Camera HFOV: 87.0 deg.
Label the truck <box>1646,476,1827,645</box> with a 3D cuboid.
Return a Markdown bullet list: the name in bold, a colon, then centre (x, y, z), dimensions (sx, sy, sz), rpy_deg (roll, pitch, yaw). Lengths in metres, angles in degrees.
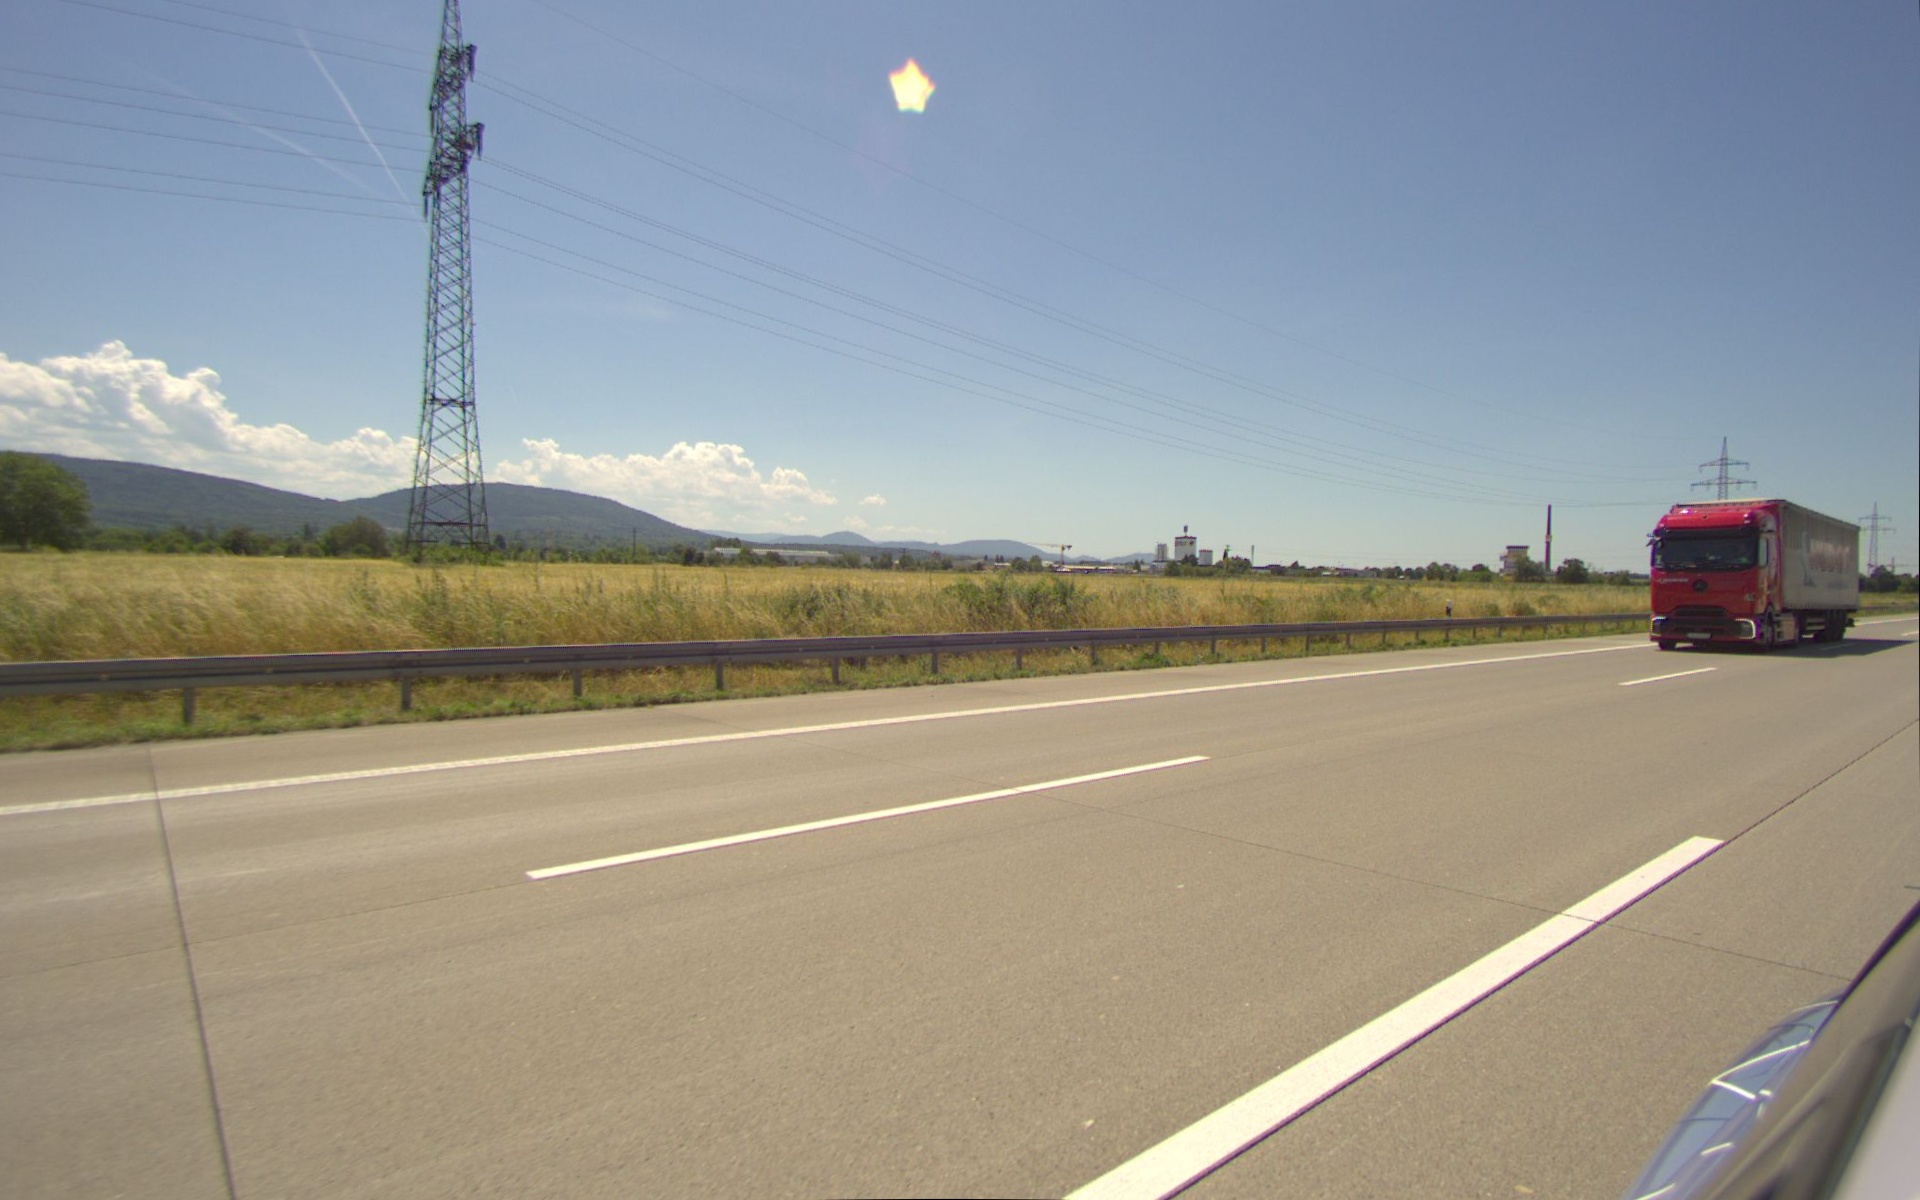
- **truck**: centre (21.626, -0.986, 28.077), dimensions (6.163, 4.153, 2.910), rpy_deg (0, 0, -42)

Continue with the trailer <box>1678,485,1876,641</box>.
- **trailer**: centre (26.571, -0.998, 32.510), dimensions (13.279, 4.153, 2.878), rpy_deg (0, 0, -42)
